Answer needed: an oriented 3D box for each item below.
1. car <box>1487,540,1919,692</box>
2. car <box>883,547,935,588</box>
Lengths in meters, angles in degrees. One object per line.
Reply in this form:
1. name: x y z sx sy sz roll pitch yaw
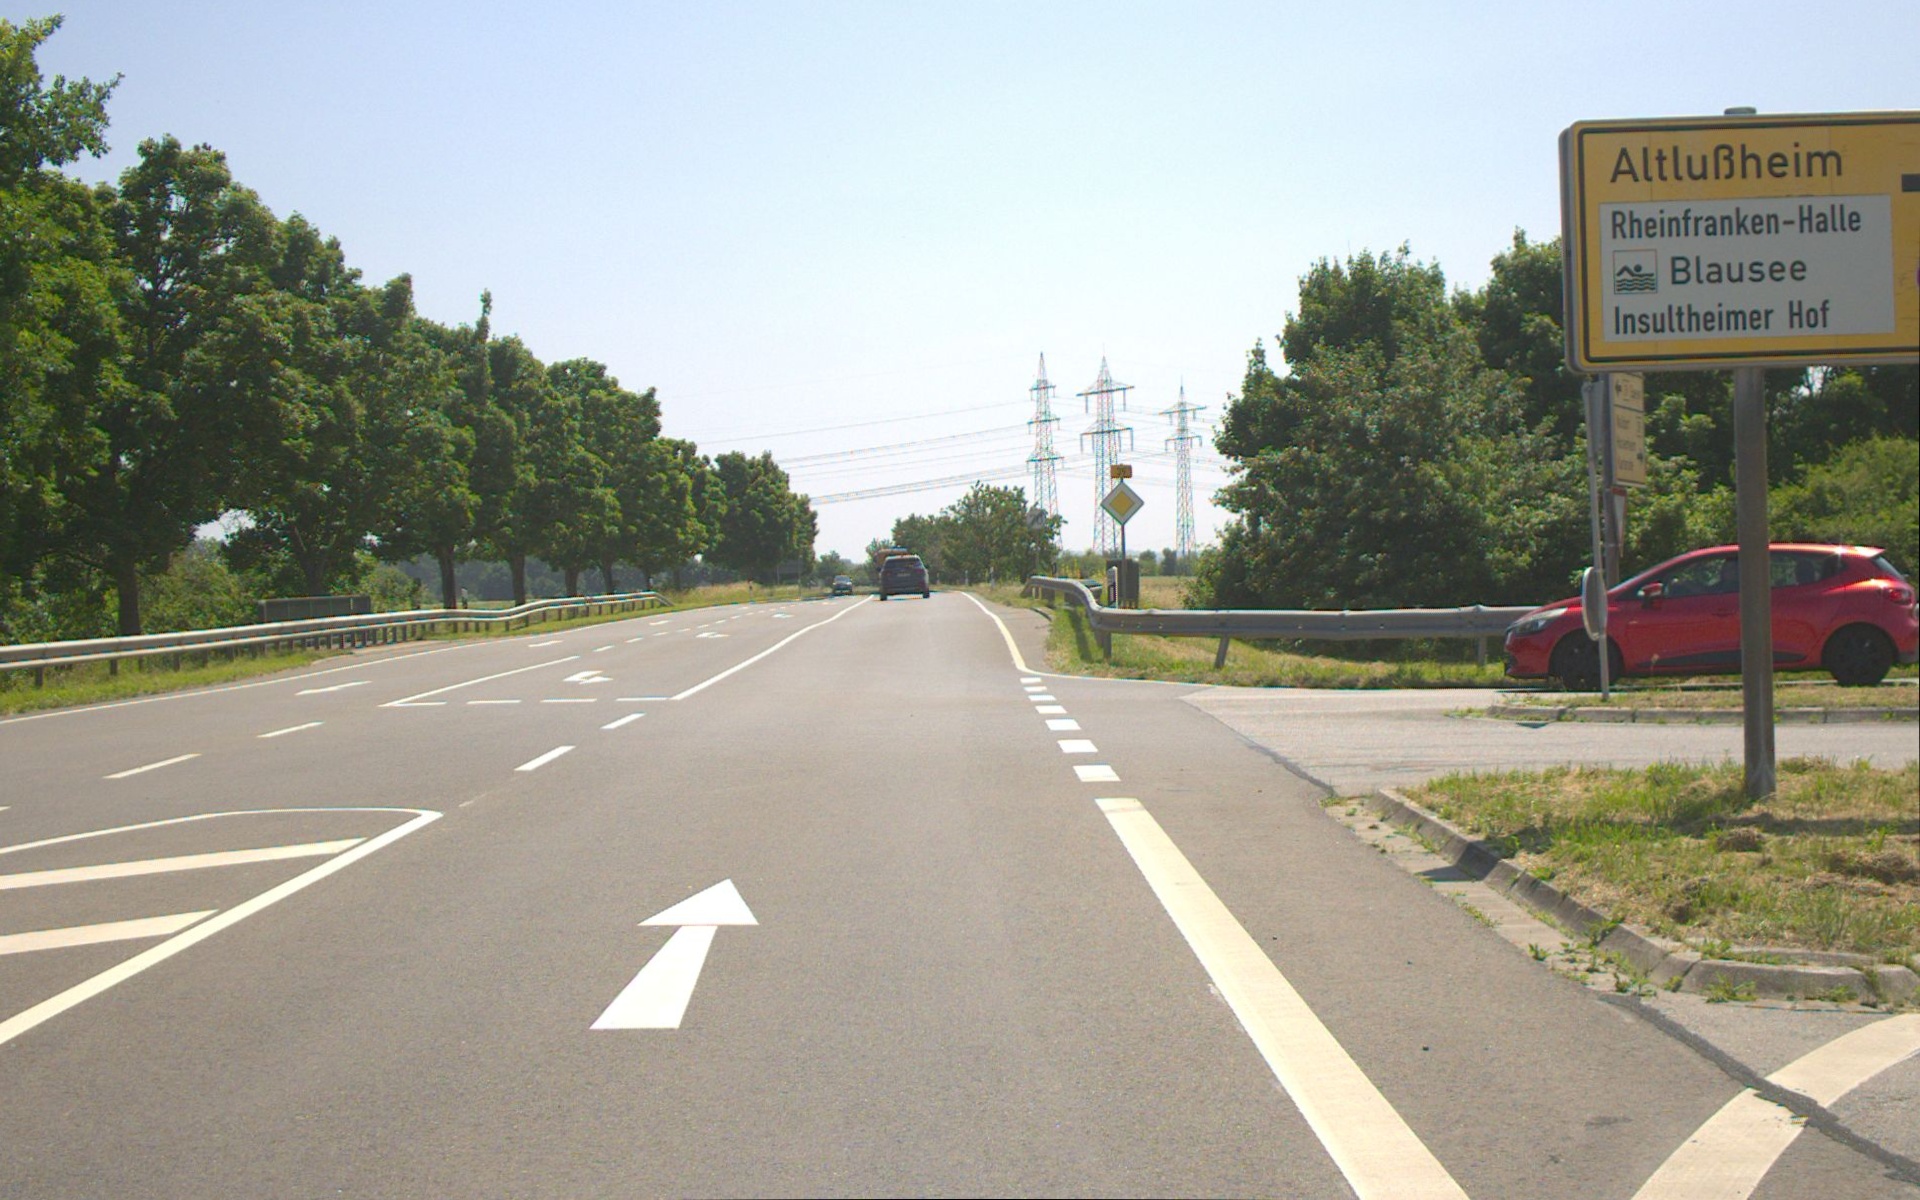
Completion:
1. car: 7.383 0.159 33.959 4.155 1.414 1.778 -1 0 13
2. car: -1.957 -1.229 131.254 1.884 1.513 4.040 0 0 -2
